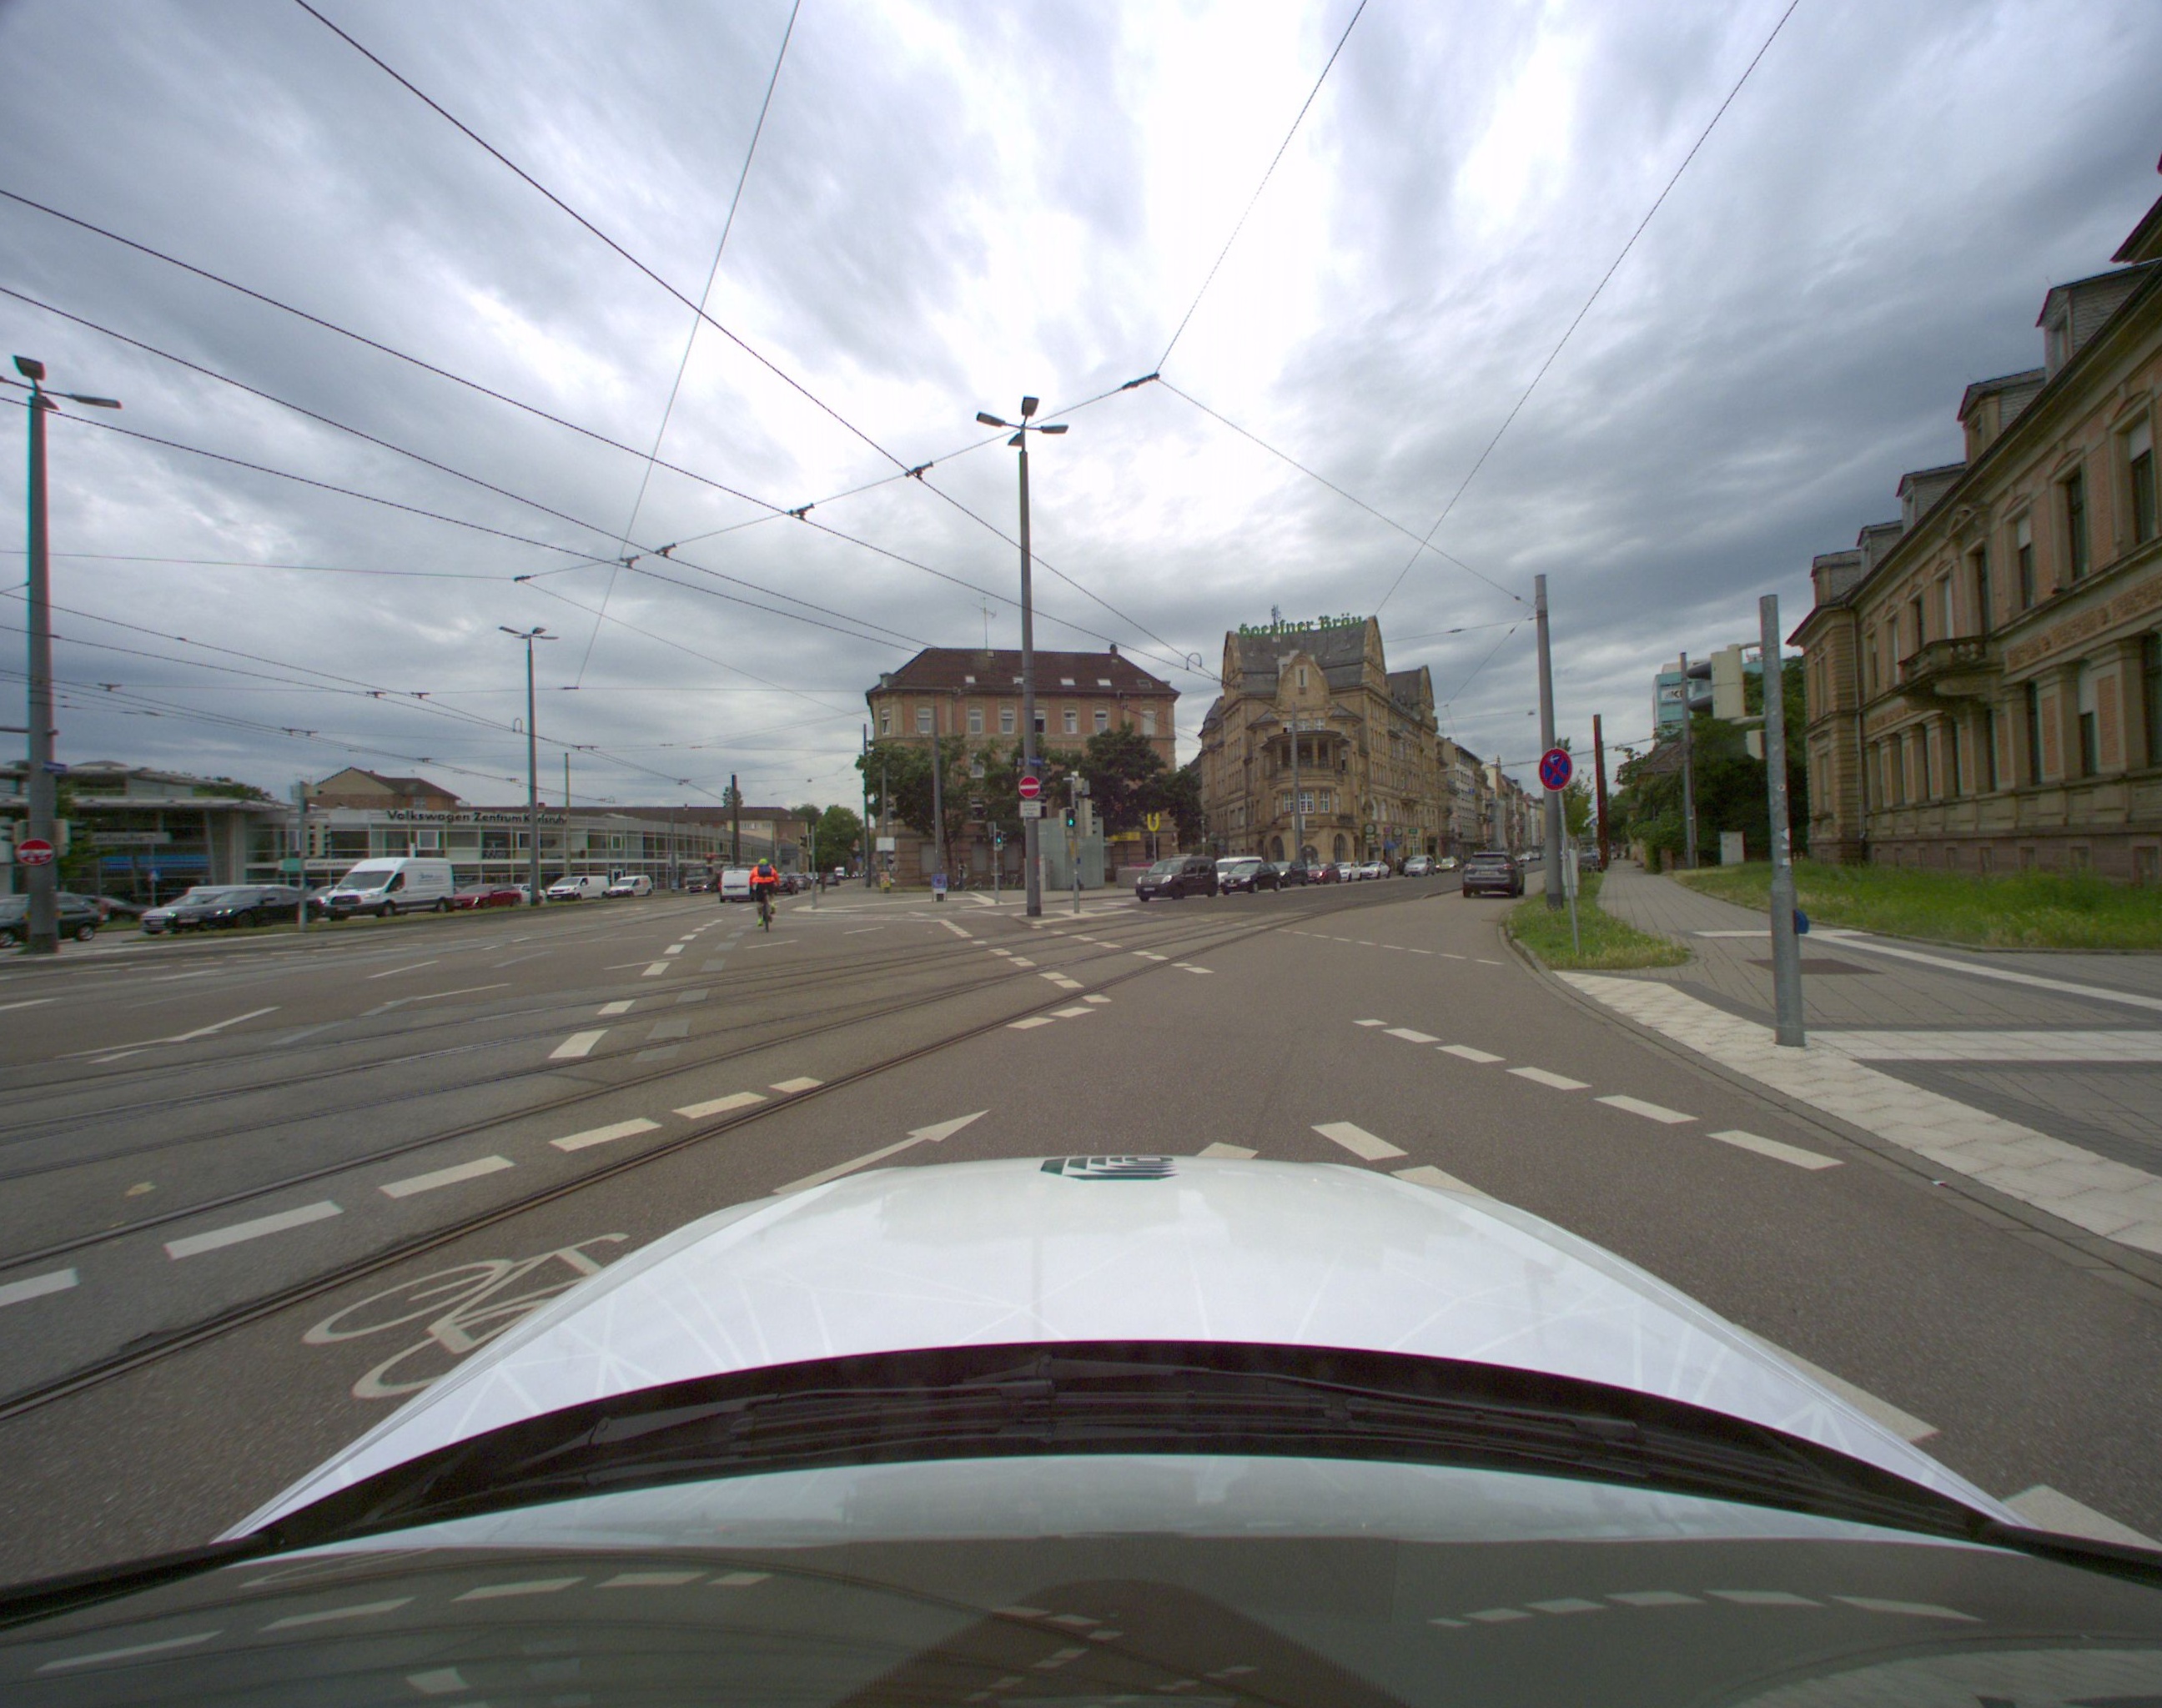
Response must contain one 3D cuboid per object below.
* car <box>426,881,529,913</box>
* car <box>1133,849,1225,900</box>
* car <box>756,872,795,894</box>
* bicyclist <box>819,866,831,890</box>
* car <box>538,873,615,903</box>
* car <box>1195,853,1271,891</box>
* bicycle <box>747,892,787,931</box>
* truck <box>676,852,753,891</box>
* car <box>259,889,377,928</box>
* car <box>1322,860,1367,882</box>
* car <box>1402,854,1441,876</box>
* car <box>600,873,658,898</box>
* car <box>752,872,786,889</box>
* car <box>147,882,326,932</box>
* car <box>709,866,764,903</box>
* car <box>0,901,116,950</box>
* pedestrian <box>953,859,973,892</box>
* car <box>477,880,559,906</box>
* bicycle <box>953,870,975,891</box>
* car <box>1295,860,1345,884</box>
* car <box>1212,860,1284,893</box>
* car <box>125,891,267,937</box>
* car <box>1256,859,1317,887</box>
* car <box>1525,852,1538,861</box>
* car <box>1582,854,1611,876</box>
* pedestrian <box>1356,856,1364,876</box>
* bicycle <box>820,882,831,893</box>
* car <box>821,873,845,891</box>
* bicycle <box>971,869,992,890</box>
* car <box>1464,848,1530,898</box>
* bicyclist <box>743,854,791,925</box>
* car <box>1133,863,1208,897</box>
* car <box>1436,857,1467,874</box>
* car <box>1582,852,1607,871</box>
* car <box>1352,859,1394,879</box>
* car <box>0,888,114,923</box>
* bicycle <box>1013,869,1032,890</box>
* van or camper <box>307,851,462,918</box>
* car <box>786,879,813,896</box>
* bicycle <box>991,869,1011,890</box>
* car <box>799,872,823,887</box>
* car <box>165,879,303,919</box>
[{"bbox_3d":[-31.134,2.199,42.231,1.990,1.420,4.793,-1,-1,-5],"label":"car"},{"bbox_3d":[4.055,0.803,33.054,1.672,1.900,4.414,-3,-2,37],"label":"car"},{"bbox_3d":[-21.775,2.061,58.224,1.995,1.420,3.983,-2,-1,-12],"label":"car"},{"bbox_3d":[-18.680,1.775,59.428,0.691,1.708,0.792,-1,-1,-24],"label":"bicyclist"},{"bbox_3d":[-35.426,2.352,57.365,2.151,1.856,5.442,-2,-1,-2],"label":"car"},{"bbox_3d":[8.295,0.919,44.047,1.845,1.916,5.133,-2,-1,38],"label":"car"},{"bbox_3d":[-7.568,1.358,19.575,0.560,0.848,2.053,-1,-1,-31],"label":"bicycle"},{"bbox_3d":[-35.397,1.723,79.100,2.782,3.550,9.231,-1,-2,4],"label":"truck"},{"bbox_3d":[-33.488,2.351,35.919,1.635,1.420,4.257,-1,-1,-9],"label":"car"},{"bbox_3d":[18.781,1.216,57.941,1.729,1.380,4.390,-5,-3,34],"label":"car"},{"bbox_3d":[27.844,0.868,66.455,1.845,1.706,4.940,-4,-2,35],"label":"car"},{"bbox_3d":[-35.656,2.465,64.416,1.987,1.839,4.522,-2,-1,0],"label":"car"},{"bbox_3d":[-35.182,2.971,91.976,1.987,1.839,4.522,-2,-1,0],"label":"car"},{"bbox_3d":[-28.849,1.748,28.079,1.995,1.420,4.642,-1,-1,-12],"label":"car"},{"bbox_3d":[-19.189,1.670,45.574,1.912,1.940,4.117,-1,-1,-10],"label":"car"},{"bbox_3d":[-31.552,2.127,24.253,1.688,1.247,3.722,-1,-1,-12],"label":"car"},{"bbox_3d":[-6.343,1.139,43.750,0.915,1.728,0.596,-1,-1,-31],"label":"pedestrian"},{"bbox_3d":[-35.199,2.431,51.092,1.988,1.420,4.746,-2,-1,-2],"label":"car"},{"bbox_3d":[-7.810,1.737,54.426,0.954,1.354,3.121,-1,-2,2],"label":"bicycle"},{"bbox_3d":[15.674,1.145,53.343,1.845,1.399,3.920,-5,-3,37],"label":"car"},{"bbox_3d":[7.848,1.024,37.978,1.672,1.442,4.025,-3,-2,37],"label":"car"},{"bbox_3d":[-32.217,2.129,29.815,1.636,1.420,3.722,-1,-1,-12],"label":"car"},{"bbox_3d":[12.440,1.116,49.112,1.845,1.534,4.329,-5,-3,38],"label":"car"},{"bbox_3d":[83.437,0.452,150.878,1.742,1.449,4.643,-2,-1,34],"label":"car"},{"bbox_3d":[37.847,0.779,59.762,1.621,1.434,3.955,-5,-3,33],"label":"car"},{"bbox_3d":[25.119,1.072,73.272,0.625,1.719,0.535,-2,-1,19],"label":"pedestrian"},{"bbox_3d":[-18.664,2.446,59.418,0.621,0.793,1.579,-1,-1,-23],"label":"bicycle"},{"bbox_3d":[-28.444,3.206,93.413,1.991,2.014,3.990,-1,-2,-7],"label":"car"},{"bbox_3d":[-6.653,1.724,54.528,0.954,1.354,3.121,-1,-2,2],"label":"bicycle"},{"bbox_3d":[15.664,0.654,30.583,1.732,1.756,3.948,0,0,34],"label":"car"},{"bbox_3d":[-7.570,0.841,19.614,0.832,1.621,1.308,-1,-1,-31],"label":"bicyclist"},{"bbox_3d":[4.268,1.203,38.383,1.672,1.442,4.025,-3,-2,37],"label":"car"},{"bbox_3d":[36.427,1.093,79.919,1.880,1.511,4.456,-4,-2,35],"label":"car"},{"bbox_3d":[46.692,0.627,74.050,1.738,1.574,3.955,-5,-3,33],"label":"car"},{"bbox_3d":[22.633,1.139,63.017,1.907,1.380,4.285,-2,-1,36],"label":"car"},{"bbox_3d":[-48.217,2.385,38.185,1.635,1.420,3.726,-1,-1,-9],"label":"car"},{"bbox_3d":[-3.962,1.705,55.170,0.954,1.354,3.121,-1,-2,2],"label":"bicycle"},{"bbox_3d":[-30.111,1.297,35.561,2.416,2.611,6.027,0,-2,-11],"label":"van or camper"},{"bbox_3d":[-25.696,3.016,74.355,1.855,1.508,3.982,0,-2,-13],"label":"car"},{"bbox_3d":[-5.351,1.710,54.664,0.954,1.354,3.121,-1,-2,2],"label":"bicycle"},{"bbox_3d":[-36.180,3.443,109.223,1.990,1.839,4.515,-1,-1,-5],"label":"car"},{"bbox_3d":[-46.017,2.397,44.369,4.769,2.014,2.112,0,-2,-12],"label":"car"}]
